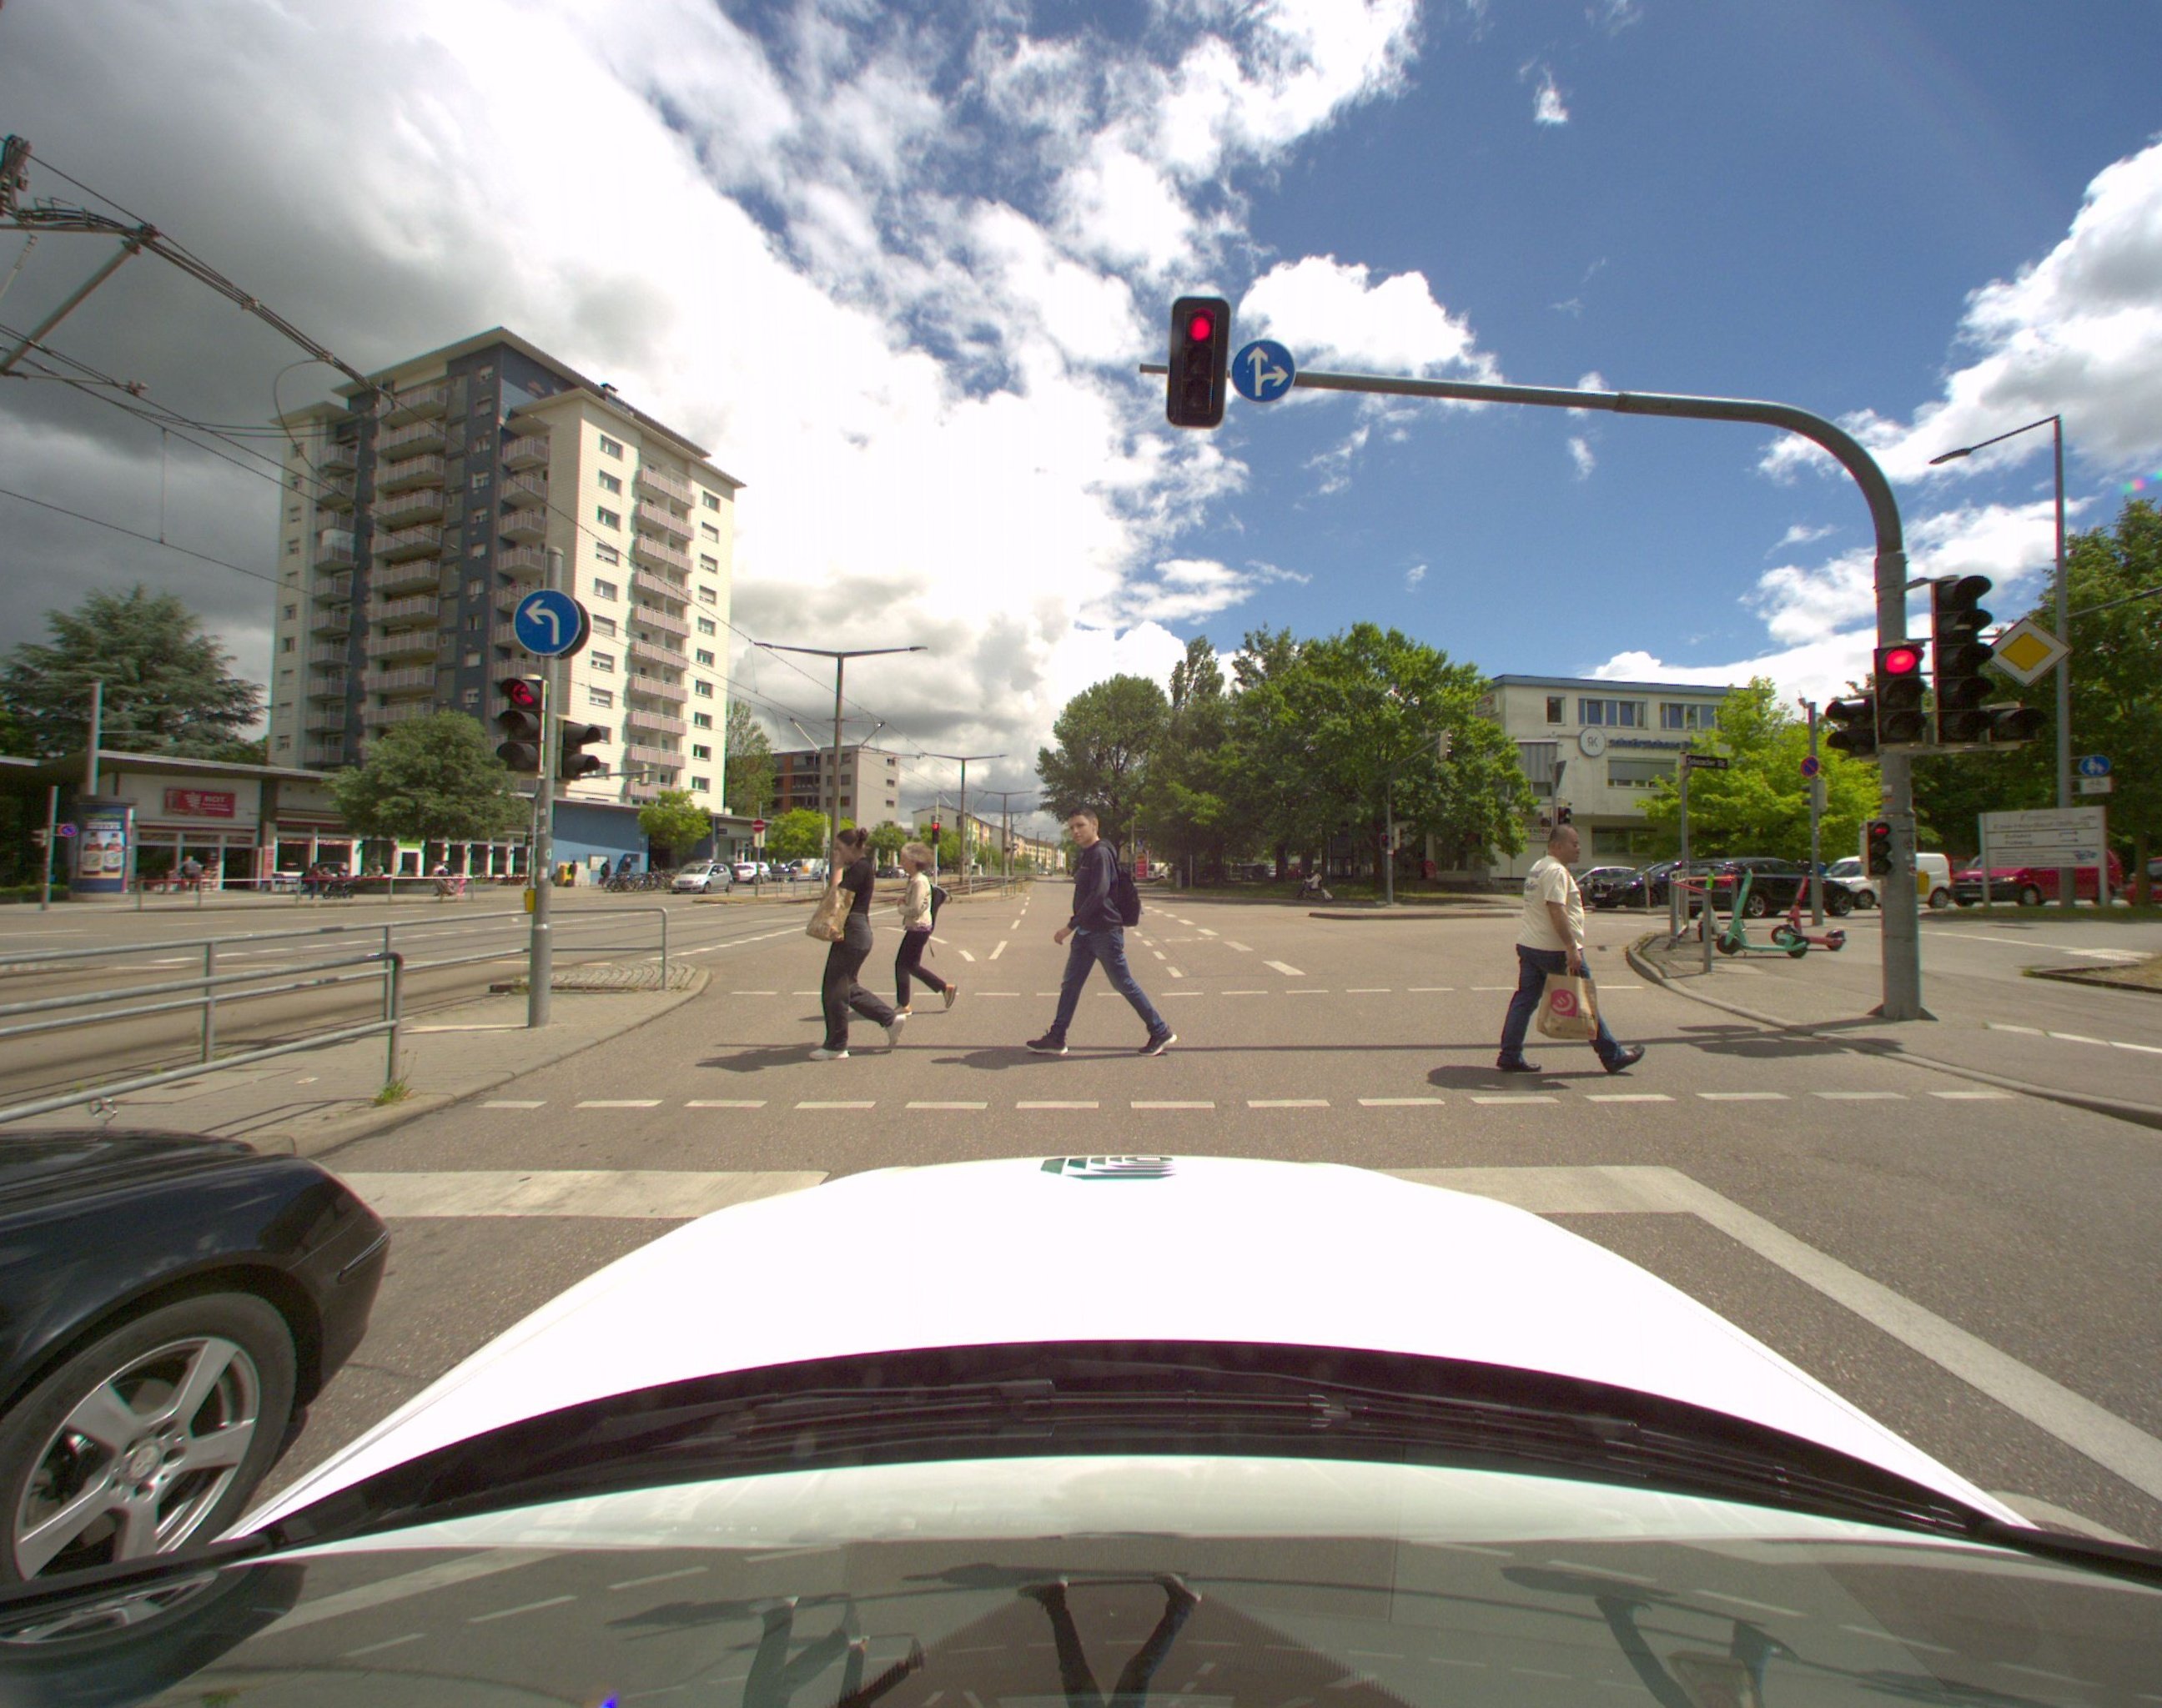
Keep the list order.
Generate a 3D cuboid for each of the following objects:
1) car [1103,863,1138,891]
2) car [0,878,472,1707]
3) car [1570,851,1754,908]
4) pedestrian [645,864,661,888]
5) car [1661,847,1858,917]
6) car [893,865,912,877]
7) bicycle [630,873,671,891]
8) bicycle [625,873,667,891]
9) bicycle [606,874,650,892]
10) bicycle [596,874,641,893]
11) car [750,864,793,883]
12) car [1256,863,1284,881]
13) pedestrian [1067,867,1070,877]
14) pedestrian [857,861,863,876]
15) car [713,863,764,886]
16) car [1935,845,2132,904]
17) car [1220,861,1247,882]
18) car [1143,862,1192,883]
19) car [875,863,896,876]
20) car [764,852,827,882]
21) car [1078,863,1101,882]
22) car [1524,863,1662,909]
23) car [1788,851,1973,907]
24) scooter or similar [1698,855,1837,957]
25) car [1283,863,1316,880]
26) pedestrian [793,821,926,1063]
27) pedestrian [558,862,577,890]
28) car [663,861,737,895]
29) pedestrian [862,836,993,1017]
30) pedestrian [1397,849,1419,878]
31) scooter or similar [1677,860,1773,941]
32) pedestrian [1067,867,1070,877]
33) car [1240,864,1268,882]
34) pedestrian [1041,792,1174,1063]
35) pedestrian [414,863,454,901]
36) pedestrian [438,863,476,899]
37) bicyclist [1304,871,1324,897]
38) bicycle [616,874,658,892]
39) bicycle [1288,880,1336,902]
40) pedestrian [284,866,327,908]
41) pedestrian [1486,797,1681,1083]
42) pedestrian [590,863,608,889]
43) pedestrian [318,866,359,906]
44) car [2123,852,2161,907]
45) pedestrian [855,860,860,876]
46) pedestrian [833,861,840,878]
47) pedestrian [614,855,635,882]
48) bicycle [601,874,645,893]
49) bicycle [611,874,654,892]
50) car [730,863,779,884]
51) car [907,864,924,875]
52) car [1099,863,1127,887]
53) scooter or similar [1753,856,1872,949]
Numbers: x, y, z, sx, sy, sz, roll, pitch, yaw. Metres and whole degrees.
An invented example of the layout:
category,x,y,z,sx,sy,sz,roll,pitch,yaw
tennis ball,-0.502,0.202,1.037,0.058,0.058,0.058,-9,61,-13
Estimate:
category,x,y,z,sx,sy,sz,roll,pitch,yaw
car,2.487,1.453,51.887,2.144,1.684,4.001,0,-1,2
car,-2.766,0.792,0.183,1.721,1.461,4.546,0,0,2
car,18.265,0.768,25.727,4.551,1.717,1.996,0,0,-5
pedestrian,-28.356,1.449,53.949,0.768,1.615,0.695,0,-1,-13
car,15.978,0.652,19.202,4.000,1.487,1.746,0,-3,-20
car,-21.673,2.062,99.184,1.758,1.395,3.993,0,0,-5
bicycle,-23.380,1.527,44.263,1.943,0.935,0.494,0,-1,-5
bicycle,-23.356,1.522,43.772,1.943,0.935,0.494,0,-1,-5
bicycle,-23.518,1.508,42.296,1.943,0.935,0.494,0,-1,-5
bicycle,-23.458,1.498,41.323,1.943,0.935,0.494,0,-1,-5
car,-24.781,1.560,65.133,1.800,1.420,4.166,0,-1,-43
car,17.676,1.648,76.254,1.626,1.595,3.998,0,0,-1
pedestrian,-2.096,2.896,133.567,0.477,1.637,0.454,0,-1,1
pedestrian,-24.147,1.578,89.043,0.547,1.716,0.667,0,-1,-8
car,-24.714,1.442,58.714,4.165,1.570,1.973,-1,-1,45
car,31.853,0.689,27.302,4.800,1.864,1.994,0,-2,-8
car,13.864,1.549,74.396,1.626,1.811,4.030,0,0,-1
car,7.764,1.632,73.296,4.001,1.823,1.766,0,-1,-21
car,-22.011,1.691,91.791,1.758,1.395,3.993,0,0,-5
car,-24.689,1.088,70.209,2.848,2.478,6.641,0,-1,-42
car,0.809,1.702,74.686,1.986,1.684,4.002,0,0,2
car,18.486,1.133,29.493,3.906,1.556,1.994,0,0,-9
car,26.187,0.793,26.754,4.555,1.717,1.995,0,0,-8
scooter or similar,8.850,0.655,10.535,1.336,1.277,0.463,0,0,8
car,20.566,1.633,76.683,1.728,1.595,3.992,0,0,-5
pedestrian,-1.701,0.640,6.401,0.933,1.765,0.769,0,0,-10
pedestrian,-30.413,1.280,48.247,0.768,1.615,0.695,0,-1,-14
car,-19.812,1.217,42.576,1.930,1.693,3.874,0,0,2
pedestrian,-1.500,0.681,8.073,0.945,1.674,0.874,-1,-1,16
pedestrian,18.647,0.548,46.438,0.769,1.643,0.903,0,-1,-12
scooter or similar,9.752,0.687,12.324,1.360,1.156,0.540,1,0,-23
pedestrian,-2.077,2.885,133.585,0.334,1.627,0.356,0,-1,-16
car,15.921,1.693,75.115,1.626,1.573,4.030,0,0,-1
pedestrian,0.177,0.527,6.318,0.963,1.942,0.896,0,0,-3
pedestrian,-29.134,1.250,36.673,0.936,1.659,1.106,-1,-1,27
pedestrian,-29.038,1.242,37.907,0.936,1.659,1.106,-1,-1,27
bicyclist,9.666,1.244,33.750,0.628,1.022,0.799,0,-1,28
bicycle,-23.571,1.518,43.263,1.943,0.935,0.494,0,-1,-5
bicycle,9.569,1.521,33.802,1.785,0.819,0.799,0,-1,28
pedestrian,-31.852,1.340,33.456,0.957,1.659,1.002,-1,-1,27
pedestrian,3.380,0.542,5.549,0.866,1.808,0.741,0,0,-2
pedestrian,-30.026,1.351,50.762,0.767,1.615,0.695,0,-1,-12
pedestrian,-31.501,1.348,34.540,0.957,1.659,1.002,-1,-1,27
car,30.113,0.673,21.749,3.187,1.441,1.541,0,0,-11
pedestrian,-25.048,1.551,91.273,0.547,1.716,0.404,0,-1,-8
pedestrian,-23.979,1.534,79.972,0.545,1.716,0.405,0,-1,1
pedestrian,-32.158,1.016,57.421,0.863,1.917,1.213,0,0,-5
bicycle,-23.493,1.503,41.790,1.943,0.935,0.494,0,-1,-5
bicycle,-23.542,1.513,42.772,1.943,0.935,0.494,0,-1,-5
car,-24.883,1.441,61.967,4.165,1.538,1.973,-1,-1,45
car,-21.462,2.038,105.776,1.758,1.395,3.993,0,0,-5
car,2.328,1.559,59.341,1.986,1.684,4.001,0,-1,2
scooter or similar,10.237,0.675,11.411,1.225,1.240,0.555,2,0,-7
